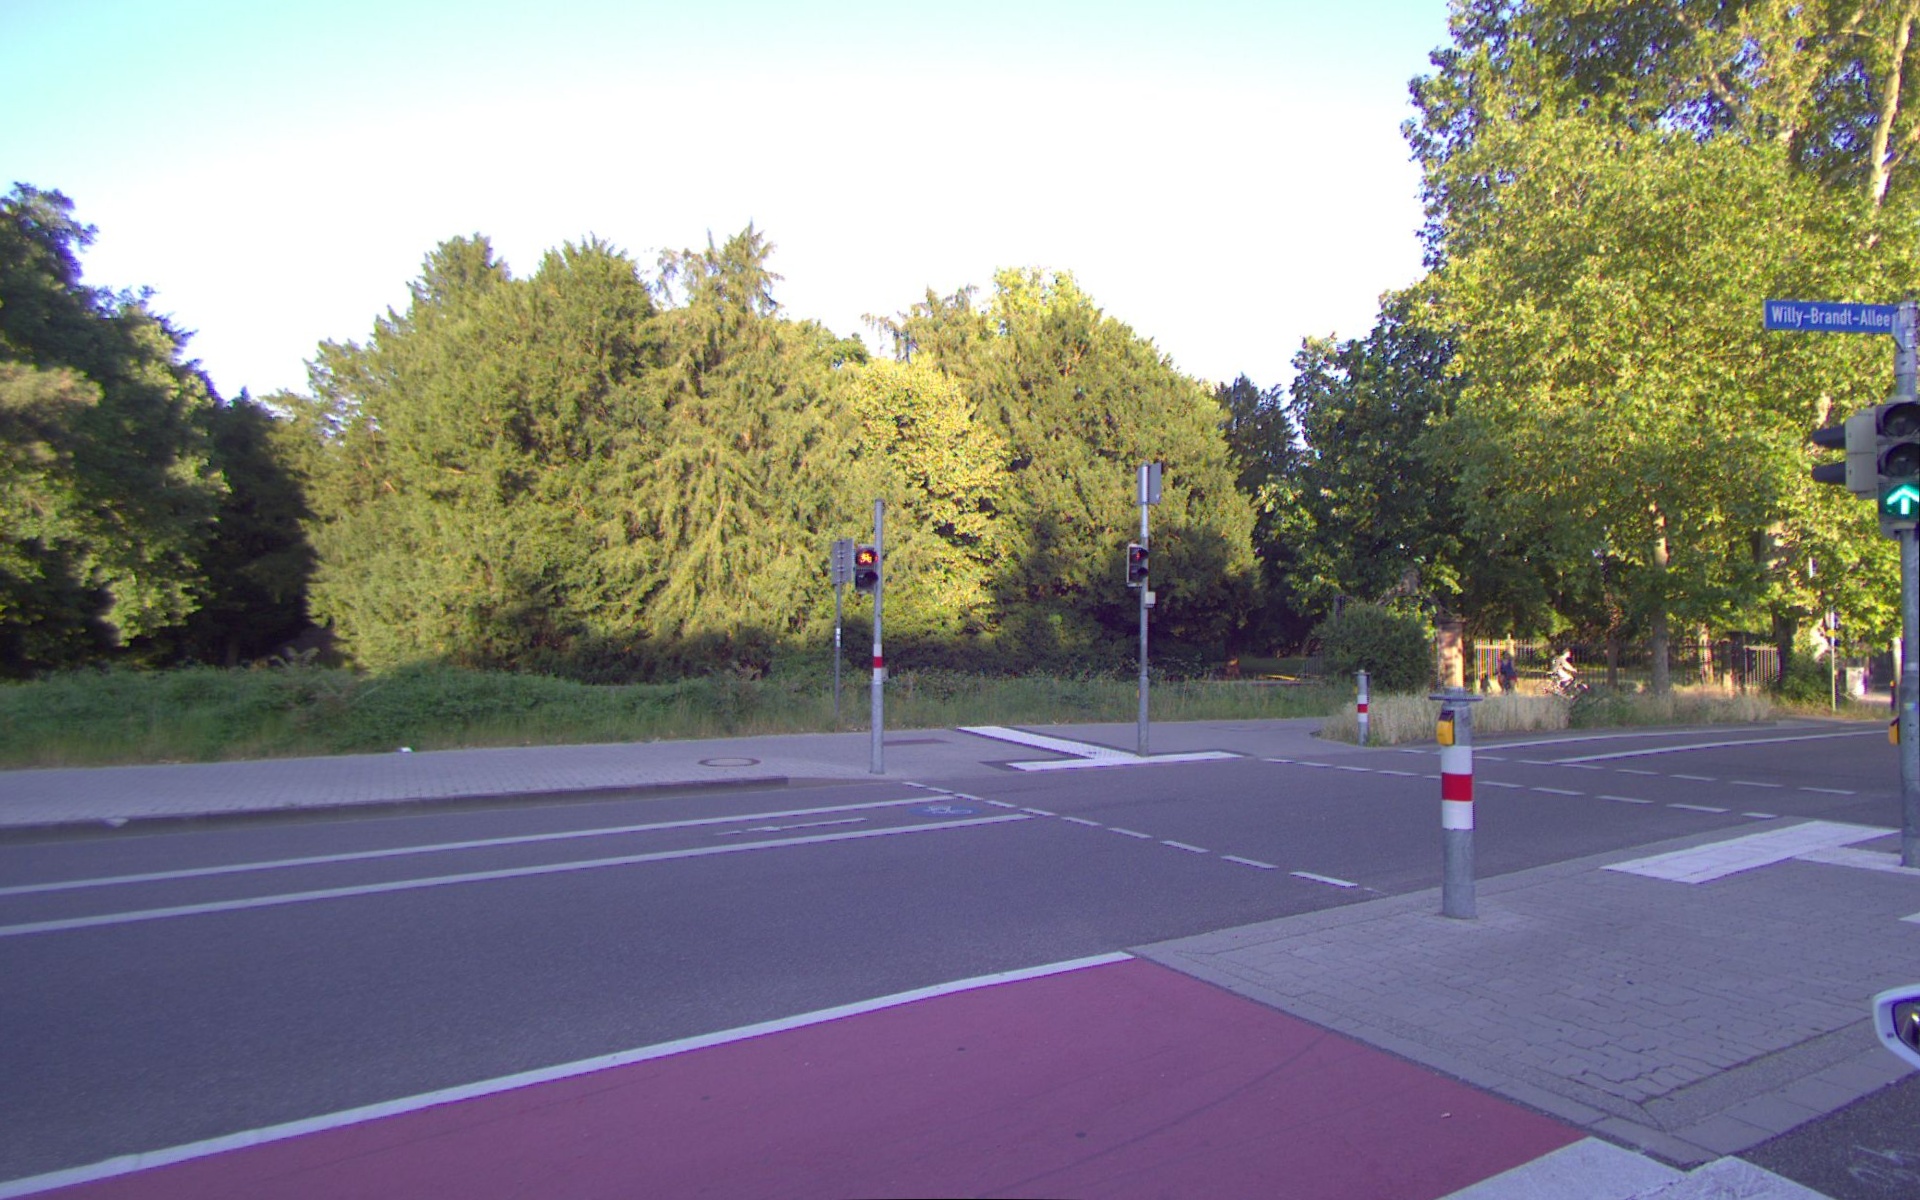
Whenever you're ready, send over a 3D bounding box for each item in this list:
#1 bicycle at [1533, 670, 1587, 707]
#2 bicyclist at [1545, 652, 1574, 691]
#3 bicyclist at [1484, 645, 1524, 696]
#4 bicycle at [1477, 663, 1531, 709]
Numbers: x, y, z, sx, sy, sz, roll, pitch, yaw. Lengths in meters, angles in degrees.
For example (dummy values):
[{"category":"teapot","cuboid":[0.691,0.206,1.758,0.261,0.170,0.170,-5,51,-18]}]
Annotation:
[{"category":"bicycle","cuboid":[21.290,3.129,35.666,1.602,1.245,0.572,-1,-2,27]},{"category":"bicyclist","cuboid":[21.308,2.528,35.708,0.824,1.379,0.572,-1,-2,27]},{"category":"bicyclist","cuboid":[15.871,2.051,29.287,0.886,1.445,0.782,3,-3,-42]},{"category":"bicycle","cuboid":[15.851,2.490,29.264,1.965,1.273,0.782,3,-3,-43]}]
